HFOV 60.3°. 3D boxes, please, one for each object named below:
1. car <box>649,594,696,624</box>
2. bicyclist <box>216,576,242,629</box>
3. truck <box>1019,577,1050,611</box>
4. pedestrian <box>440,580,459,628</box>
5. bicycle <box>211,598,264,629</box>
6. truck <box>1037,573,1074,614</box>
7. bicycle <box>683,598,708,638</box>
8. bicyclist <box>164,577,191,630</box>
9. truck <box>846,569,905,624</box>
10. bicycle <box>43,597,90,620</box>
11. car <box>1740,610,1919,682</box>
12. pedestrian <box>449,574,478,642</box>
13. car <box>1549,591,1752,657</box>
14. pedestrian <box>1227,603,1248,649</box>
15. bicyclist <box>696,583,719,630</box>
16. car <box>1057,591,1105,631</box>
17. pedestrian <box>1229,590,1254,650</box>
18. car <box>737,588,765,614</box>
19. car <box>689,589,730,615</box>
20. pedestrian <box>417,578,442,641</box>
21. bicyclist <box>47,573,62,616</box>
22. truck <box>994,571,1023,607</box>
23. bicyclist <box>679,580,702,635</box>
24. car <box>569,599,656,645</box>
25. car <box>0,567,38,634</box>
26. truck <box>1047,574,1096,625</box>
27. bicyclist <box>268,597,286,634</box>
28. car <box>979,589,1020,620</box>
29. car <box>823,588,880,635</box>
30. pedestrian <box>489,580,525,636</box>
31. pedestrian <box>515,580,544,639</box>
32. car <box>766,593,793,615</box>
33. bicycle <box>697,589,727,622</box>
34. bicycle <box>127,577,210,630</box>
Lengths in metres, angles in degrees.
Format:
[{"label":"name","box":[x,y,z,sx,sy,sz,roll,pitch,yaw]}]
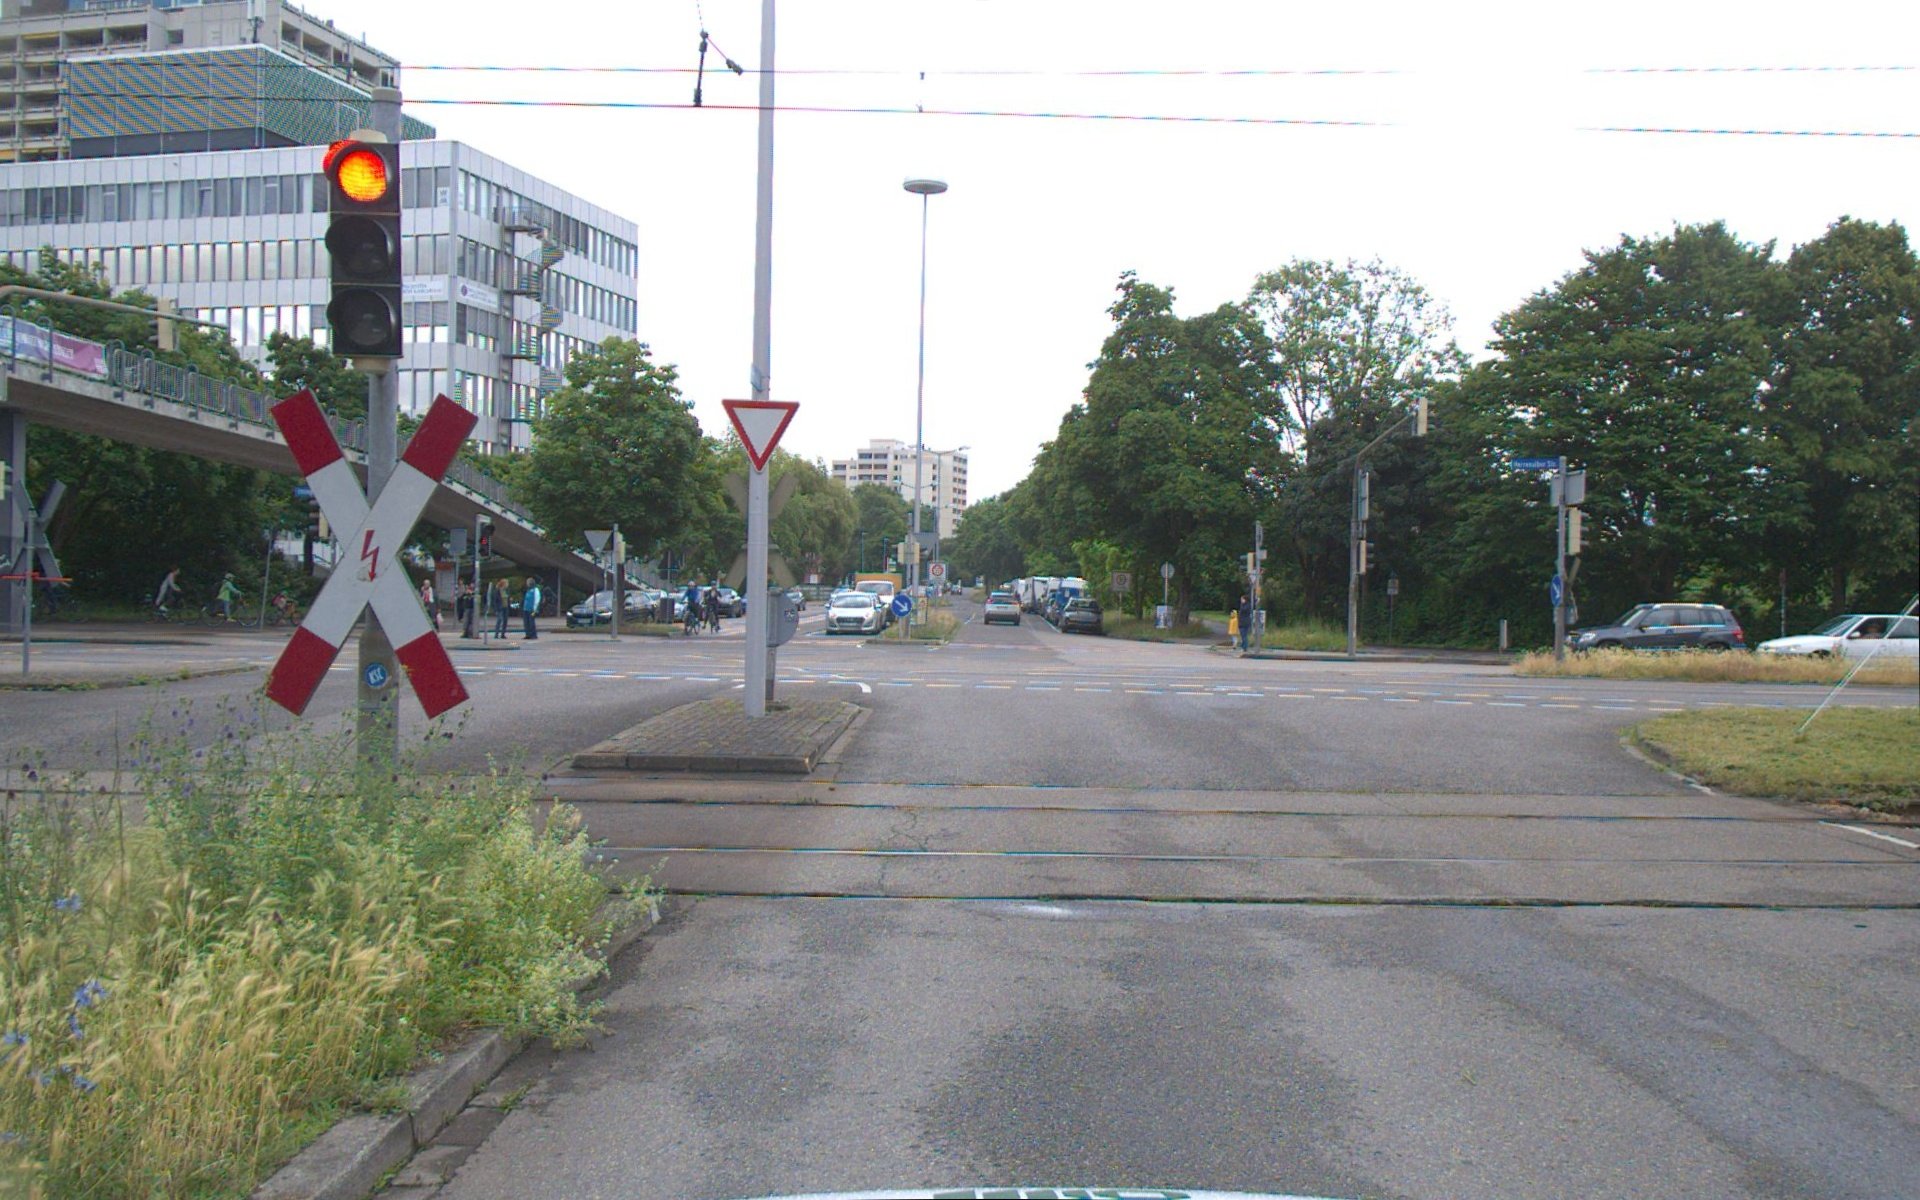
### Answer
[{"label":"car","box":[-14.375,0.427,82.905,1.637,1.411,3.895,1,0,0]},{"label":"bicyclist","box":[-23.459,0.071,53.059,0.553,1.673,0.531,1,-1,0]},{"label":"truck","box":[5.951,-0.433,132.222,1.954,2.618,5.375,1,0,-3]},{"label":"pedestrian","box":[-17.341,0.145,56.219,0.570,1.607,0.777,1,0,-19]},{"label":"bicycle","box":[-23.126,0.413,52.974,0.618,0.941,2.523,1,0,-1]},{"label":"truck","box":[6.910,-0.474,120.164,1.954,2.888,5.726,1,0,-4]},{"label":"bicycle","box":[-8.887,0.578,55.595,0.532,1.289,2.110,1,0,-1]},{"label":"bicyclist","box":[-25.068,0.113,53.015,0.738,1.653,0.523,1,0,-25]},{"label":"truck","box":[-3.632,-0.159,72.138,2.111,2.237,5.841,1,0,1]},{"label":"bicycle","box":[-28.058,0.274,51.971,1.278,0.704,0.288,1,0,-27]},{"label":"car","box":[18.742,0.951,34.594,4.052,1.381,1.647,1,0,0]},{"label":"pedestrian","box":[-13.678,0.213,45.583,0.625,1.835,0.800,1,0,-10]},{"label":"car","box":[17.508,0.593,42.079,4.373,1.530,1.846,1,0,0]},{"label":"pedestrian","box":[8.380,0.789,49.939,0.516,1.365,0.525,1,0,-1]},{"label":"bicyclist","box":[-8.893,0.220,58.298,0.665,1.622,0.695,1,-1,-1]},{"label":"car","box":[5.390,0.467,73.993,1.747,1.691,3.999,1,0,-1]},{"label":"pedestrian","box":[8.392,0.592,49.305,0.643,1.780,0.459,1,0,-1]},{"label":"car","box":[-13.517,0.048,107.166,1.415,1.579,3.663,1,0,-1]},{"label":"car","box":[-14.150,0.111,93.648,1.727,1.419,3.999,1,0,-1]},{"label":"pedestrian","box":[-14.578,0.252,45.459,0.608,1.721,0.404,1,0,-15]},{"label":"bicyclist","box":[-28.378,-0.180,51.841,0.378,1.326,0.276,1,0,-24]},{"label":"truck","box":[4.176,-0.904,142.990,1.954,3.061,5.767,1,0,-4]},{"label":"bicyclist","box":[-9.015,0.249,55.337,0.631,1.799,0.646,1,0,-1]},{"label":"car","box":[-12.606,0.774,60.146,1.636,1.579,4.004,1,0,11]},{"label":"car","box":[-27.197,-0.019,44.373,4.140,1.765,1.617,1,0,-25]},{"label":"truck","box":[6.076,0.001,90.802,2.130,2.703,6.245,0,0,-1]},{"label":"bicyclist","box":[-22.514,0.497,54.531,0.396,1.202,0.377,1,1,1]},{"label":"car","box":[2.026,0.203,85.871,1.979,1.531,3.999,1,0,-1]},{"label":"car","box":[-3.754,0.380,57.883,1.753,1.545,4.325,1,0,-1]},{"label":"pedestrian","box":[-12.490,0.217,45.655,0.901,1.537,0.403,1,0,-12]},{"label":"pedestrian","box":[-11.888,0.260,45.654,0.673,1.633,0.487,1,0,-5]},{"label":"car","box":[-13.697,0.272,125.670,1.637,1.579,4.000,1,0,0]},{"label":"bicycle","box":[-8.764,0.182,58.492,0.712,1.120,2.264,1,0,-1]},{"label":"bicycle","box":[-25.285,0.109,52.877,2.328,1.653,0.523,1,0,-26]}]
